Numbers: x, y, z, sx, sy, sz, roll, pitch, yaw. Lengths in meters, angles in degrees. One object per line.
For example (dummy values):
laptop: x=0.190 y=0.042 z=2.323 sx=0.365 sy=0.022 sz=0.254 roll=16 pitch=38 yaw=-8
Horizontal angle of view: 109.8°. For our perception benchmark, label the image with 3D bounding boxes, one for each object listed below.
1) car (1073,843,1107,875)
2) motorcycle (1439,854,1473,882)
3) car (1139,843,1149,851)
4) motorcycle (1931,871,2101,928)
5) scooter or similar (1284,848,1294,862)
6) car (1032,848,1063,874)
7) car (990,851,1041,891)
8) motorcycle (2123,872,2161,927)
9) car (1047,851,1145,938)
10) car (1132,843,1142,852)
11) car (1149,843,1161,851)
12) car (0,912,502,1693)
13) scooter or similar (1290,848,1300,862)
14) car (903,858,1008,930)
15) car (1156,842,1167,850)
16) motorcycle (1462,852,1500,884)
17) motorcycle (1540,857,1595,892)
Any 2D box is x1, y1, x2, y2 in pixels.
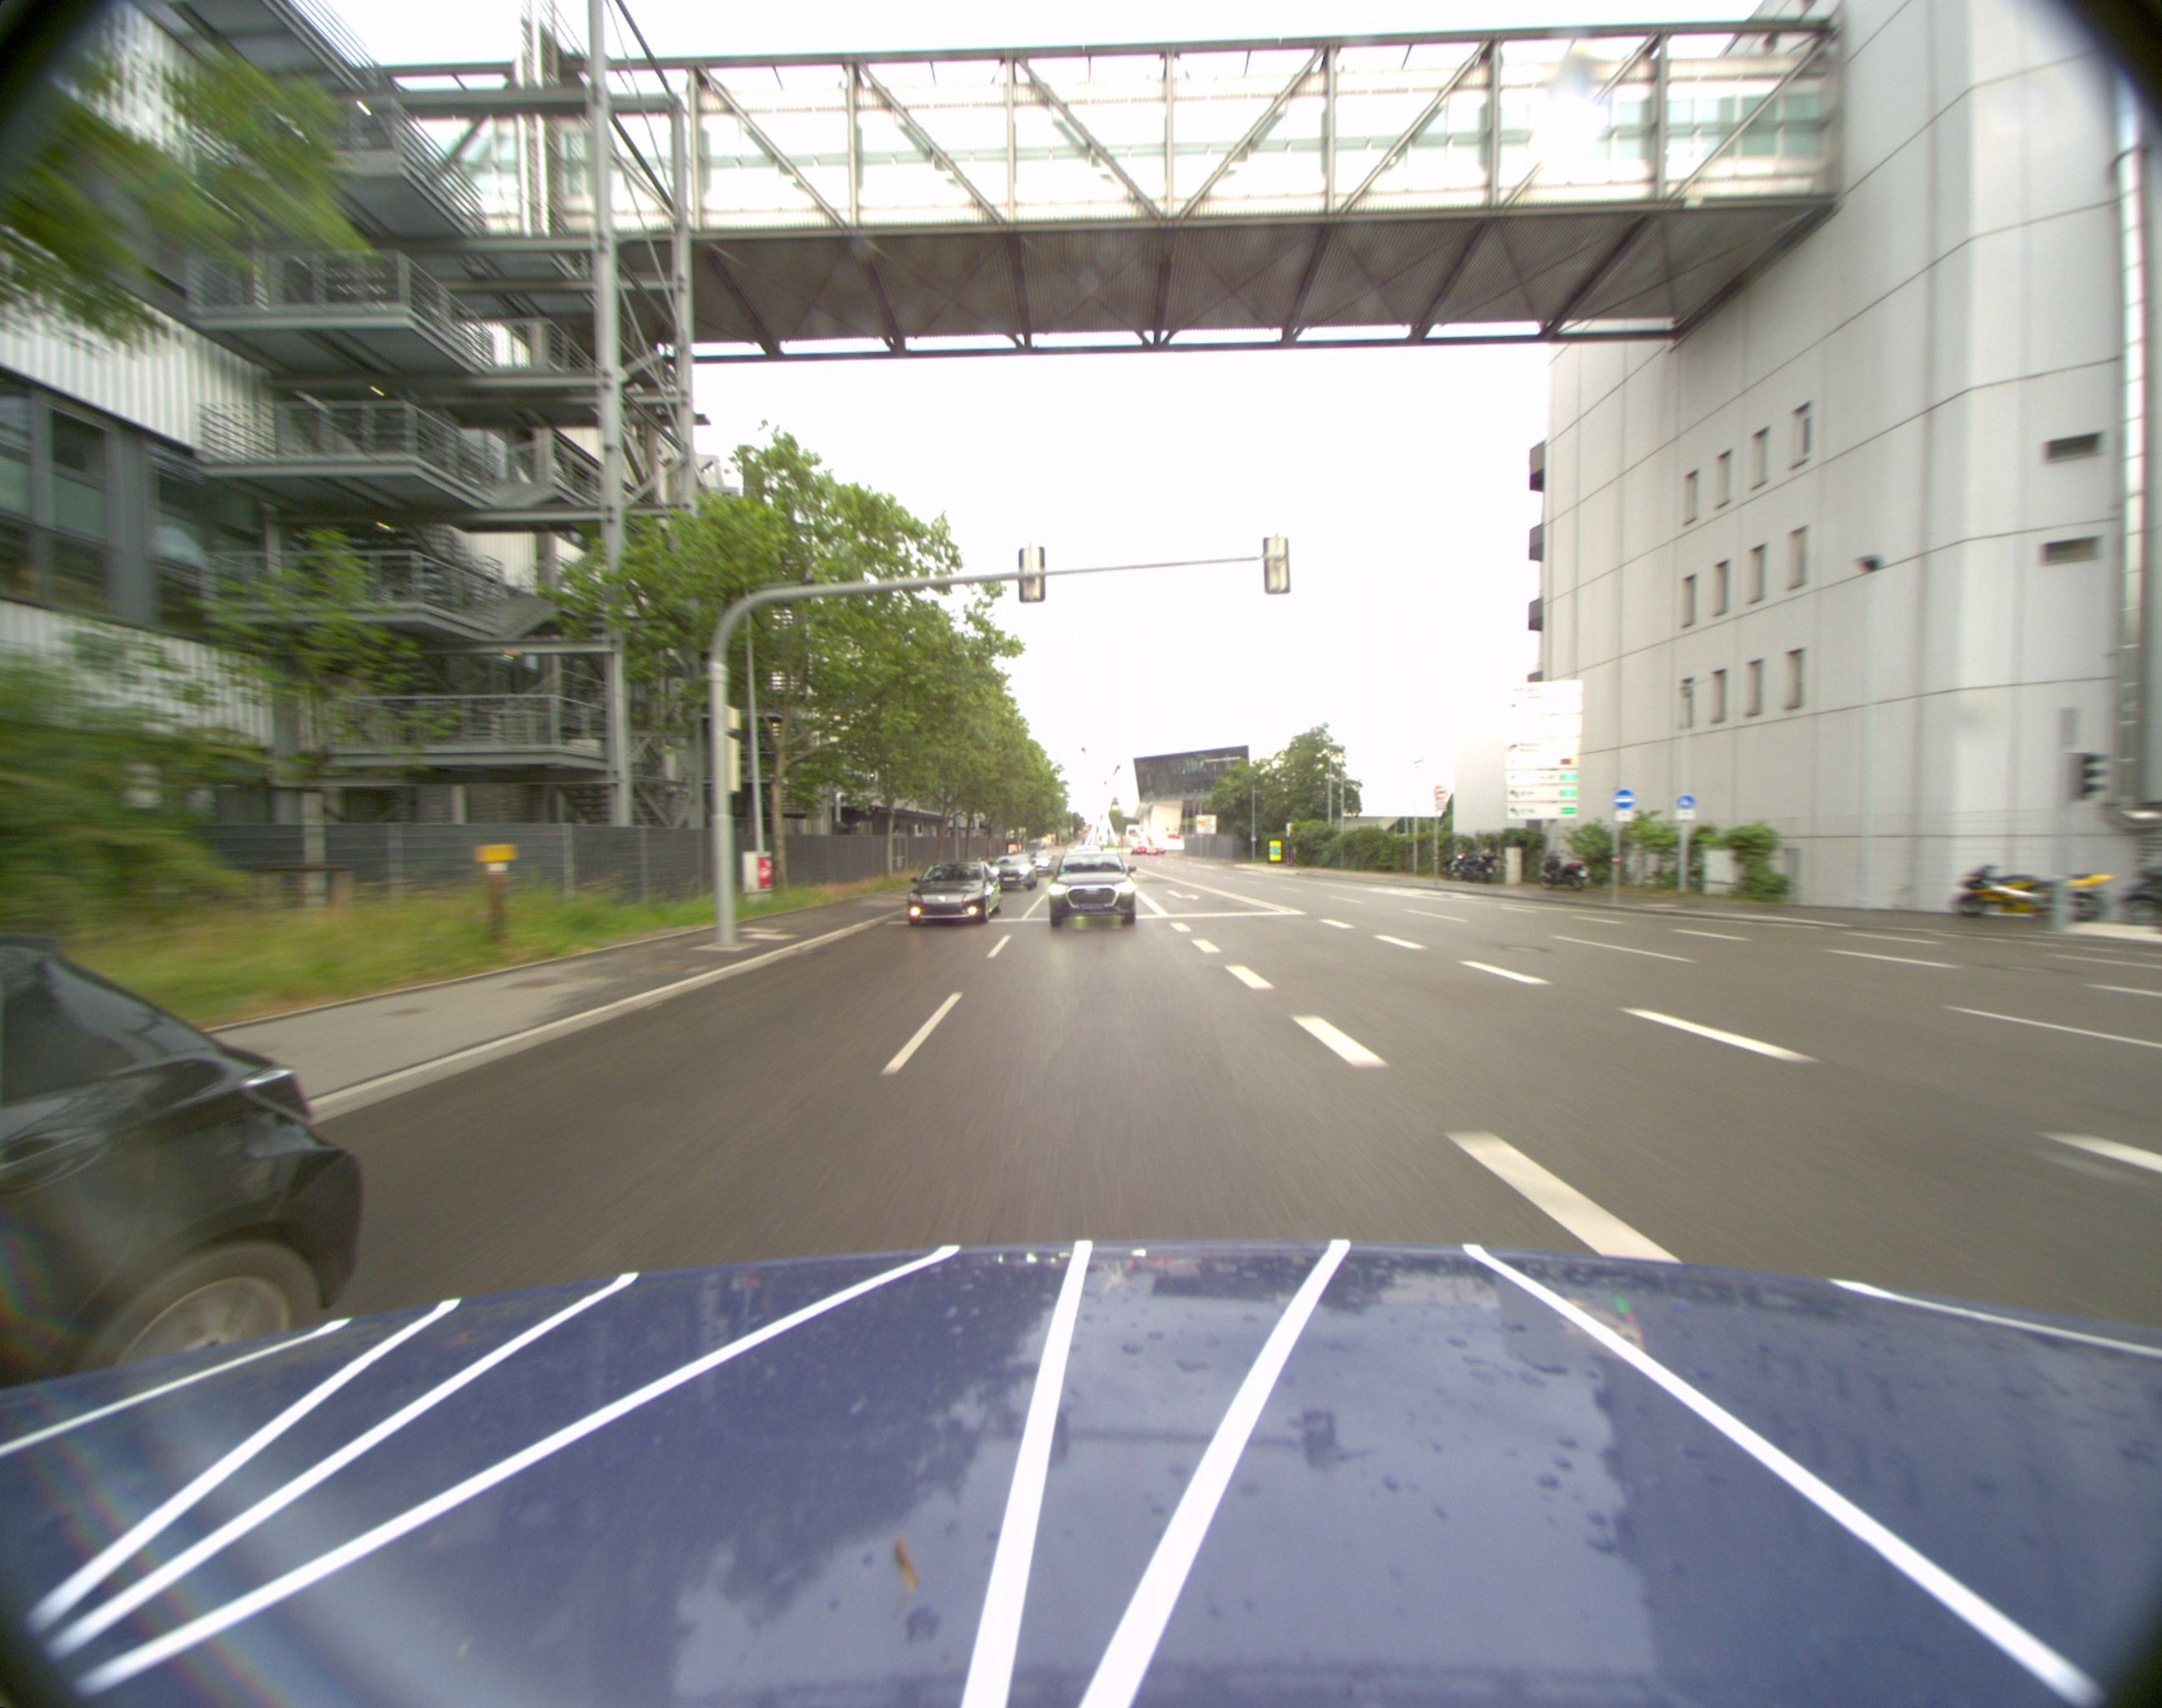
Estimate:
car: x=0.532 y=0.298 z=48.518 sx=2.035 sy=1.920 sz=4.331 roll=-1 pitch=1 yaw=0
motorcycle: x=17.161 y=0.631 z=34.813 sx=0.626 sy=1.208 sz=1.968 roll=0 pitch=1 yaw=1
car: x=12.610 y=-1.409 z=152.619 sx=1.776 sy=1.580 sz=4.485 roll=0 pitch=1 yaw=2
motorcycle: x=19.345 y=0.906 z=15.782 sx=0.628 sy=1.021 sz=2.165 roll=0 pitch=1 yaw=-35
scooter or similar: x=16.866 y=0.046 z=61.611 sx=0.394 sy=1.123 sz=1.569 roll=0 pitch=1 yaw=1
car: x=-2.171 y=0.414 z=50.004 sx=1.820 sy=1.571 sz=4.331 roll=-1 pitch=1 yaw=0
car: x=-2.804 y=0.674 z=33.242 sx=1.825 sy=1.581 sz=4.331 roll=-1 pitch=1 yaw=0
motorcycle: x=20.735 y=0.869 z=13.724 sx=0.627 sy=1.021 sz=2.166 roll=0 pitch=1 yaw=-27
car: x=0.286 y=0.750 z=17.023 sx=1.820 sy=1.536 sz=5.607 roll=-1 pitch=1 yaw=0
car: x=10.741 y=-1.268 z=146.412 sx=1.776 sy=1.580 sz=4.485 roll=0 pitch=1 yaw=2
car: x=14.066 y=-1.342 z=144.459 sx=2.036 sy=1.580 sz=4.485 roll=0 pitch=1 yaw=2
car: x=-3.076 y=0.998 z=0.521 sx=1.749 sy=1.461 sz=4.640 roll=-2 pitch=1 yaw=0
scooter or similar: x=16.870 y=0.068 z=59.985 sx=0.394 sy=1.123 sz=1.569 roll=0 pitch=1 yaw=1
car: x=-2.916 y=0.874 z=18.595 sx=1.749 sy=1.422 sz=4.516 roll=-2 pitch=1 yaw=0
car: x=16.014 y=-1.544 z=151.421 sx=1.776 sy=1.580 sz=4.485 roll=0 pitch=1 yaw=2
motorcycle: x=16.983 y=0.581 z=32.301 sx=0.626 sy=1.260 sz=2.171 roll=-2 pitch=1 yaw=6
motorcycle: x=17.066 y=0.689 z=26.708 sx=0.569 sy=1.156 sz=2.038 roll=0 pitch=1 yaw=-1
